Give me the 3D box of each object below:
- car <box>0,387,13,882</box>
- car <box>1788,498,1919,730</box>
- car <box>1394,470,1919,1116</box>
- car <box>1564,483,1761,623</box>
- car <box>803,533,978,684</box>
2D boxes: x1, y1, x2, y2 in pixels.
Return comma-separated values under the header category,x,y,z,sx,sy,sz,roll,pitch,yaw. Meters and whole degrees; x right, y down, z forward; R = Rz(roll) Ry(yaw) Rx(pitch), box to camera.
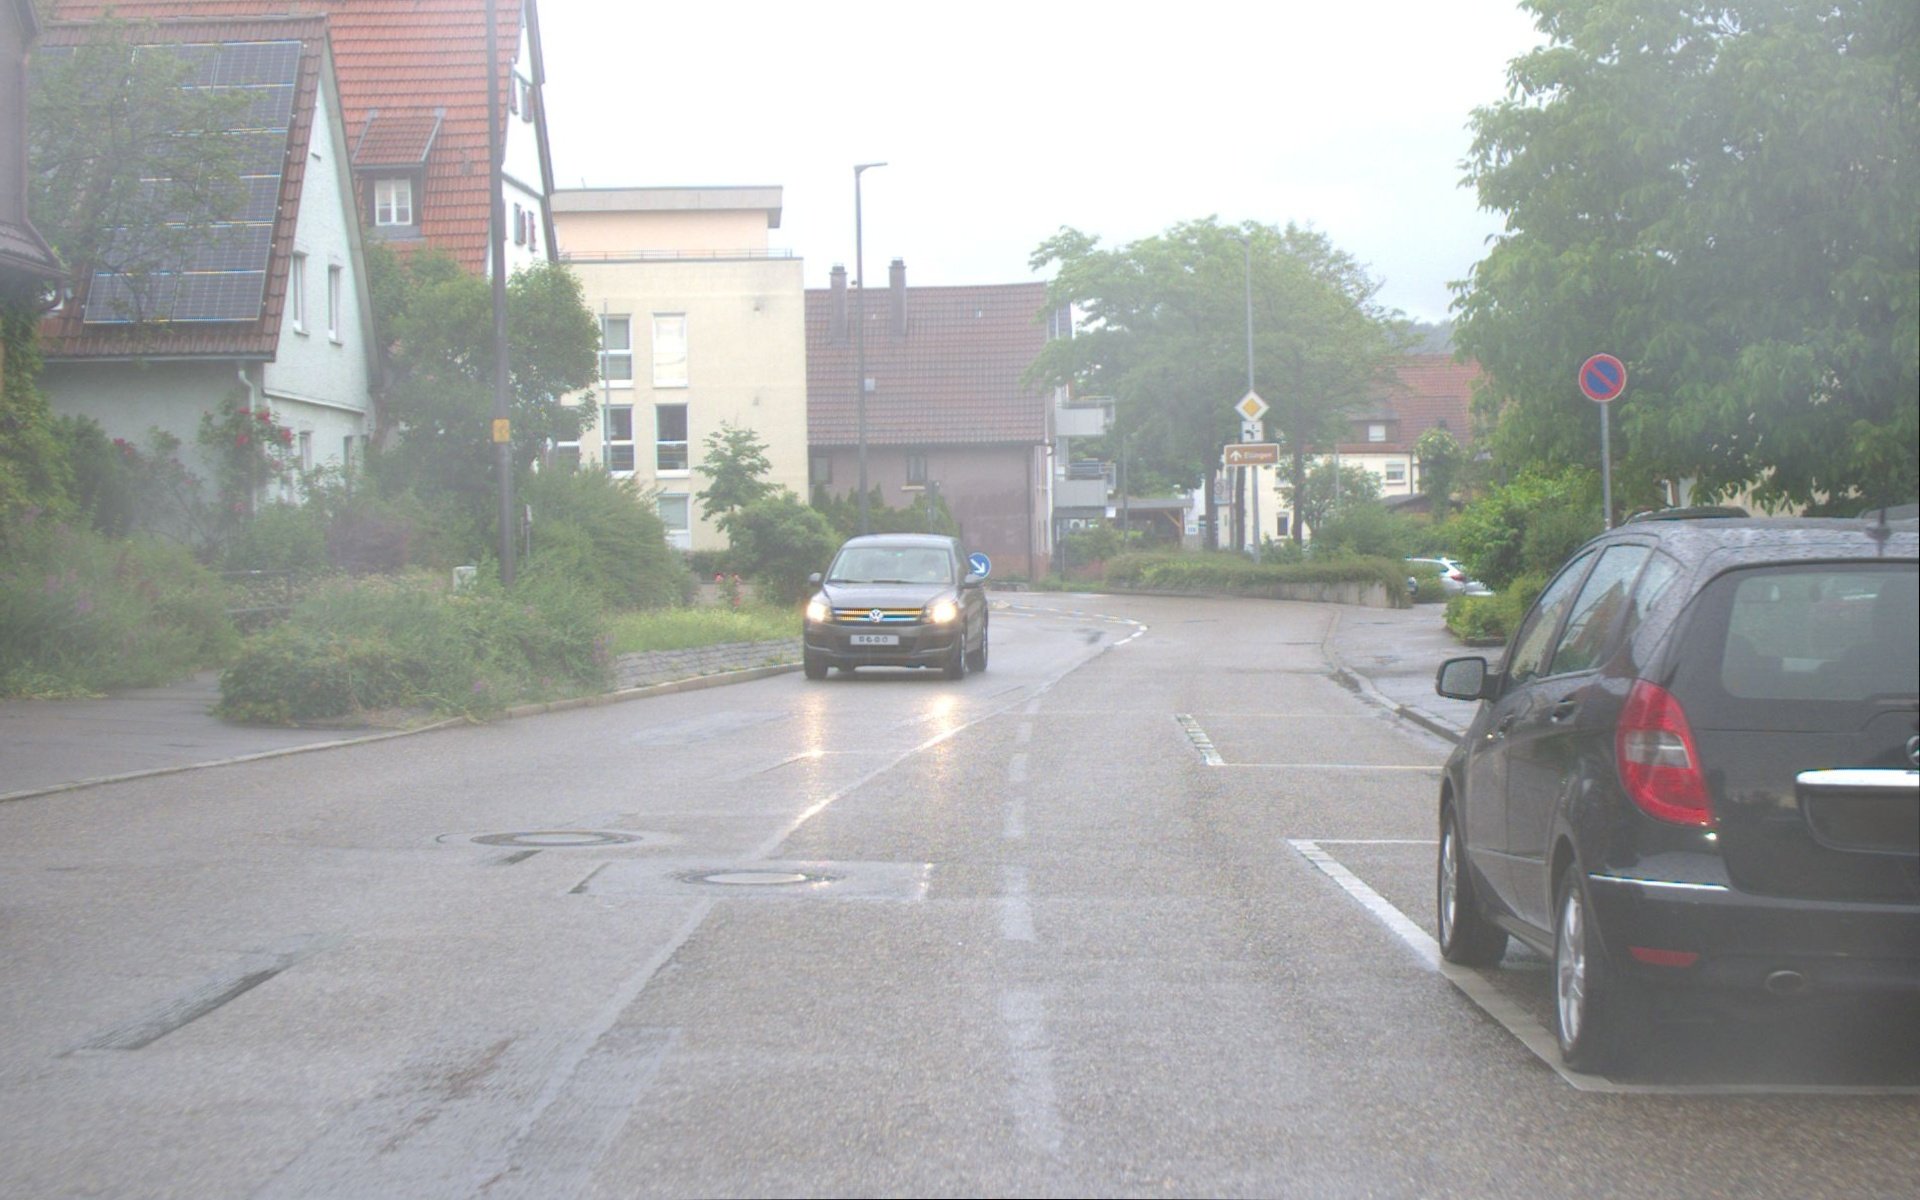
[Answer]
category,x,y,z,sx,sy,sz,roll,pitch,yaw
car,-4.864,0.187,11.475,1.821,2.007,5.214,-1,1,1
car,6.973,-0.033,23.758,1.761,1.389,3.996,-7,0,22
car,2.558,0.477,11.139,1.749,1.704,4.000,-1,1,0
car,7.595,-0.517,37.430,1.638,1.425,3.677,-1,1,4
car,-0.751,0.052,39.548,1.798,1.634,4.000,0,1,2
